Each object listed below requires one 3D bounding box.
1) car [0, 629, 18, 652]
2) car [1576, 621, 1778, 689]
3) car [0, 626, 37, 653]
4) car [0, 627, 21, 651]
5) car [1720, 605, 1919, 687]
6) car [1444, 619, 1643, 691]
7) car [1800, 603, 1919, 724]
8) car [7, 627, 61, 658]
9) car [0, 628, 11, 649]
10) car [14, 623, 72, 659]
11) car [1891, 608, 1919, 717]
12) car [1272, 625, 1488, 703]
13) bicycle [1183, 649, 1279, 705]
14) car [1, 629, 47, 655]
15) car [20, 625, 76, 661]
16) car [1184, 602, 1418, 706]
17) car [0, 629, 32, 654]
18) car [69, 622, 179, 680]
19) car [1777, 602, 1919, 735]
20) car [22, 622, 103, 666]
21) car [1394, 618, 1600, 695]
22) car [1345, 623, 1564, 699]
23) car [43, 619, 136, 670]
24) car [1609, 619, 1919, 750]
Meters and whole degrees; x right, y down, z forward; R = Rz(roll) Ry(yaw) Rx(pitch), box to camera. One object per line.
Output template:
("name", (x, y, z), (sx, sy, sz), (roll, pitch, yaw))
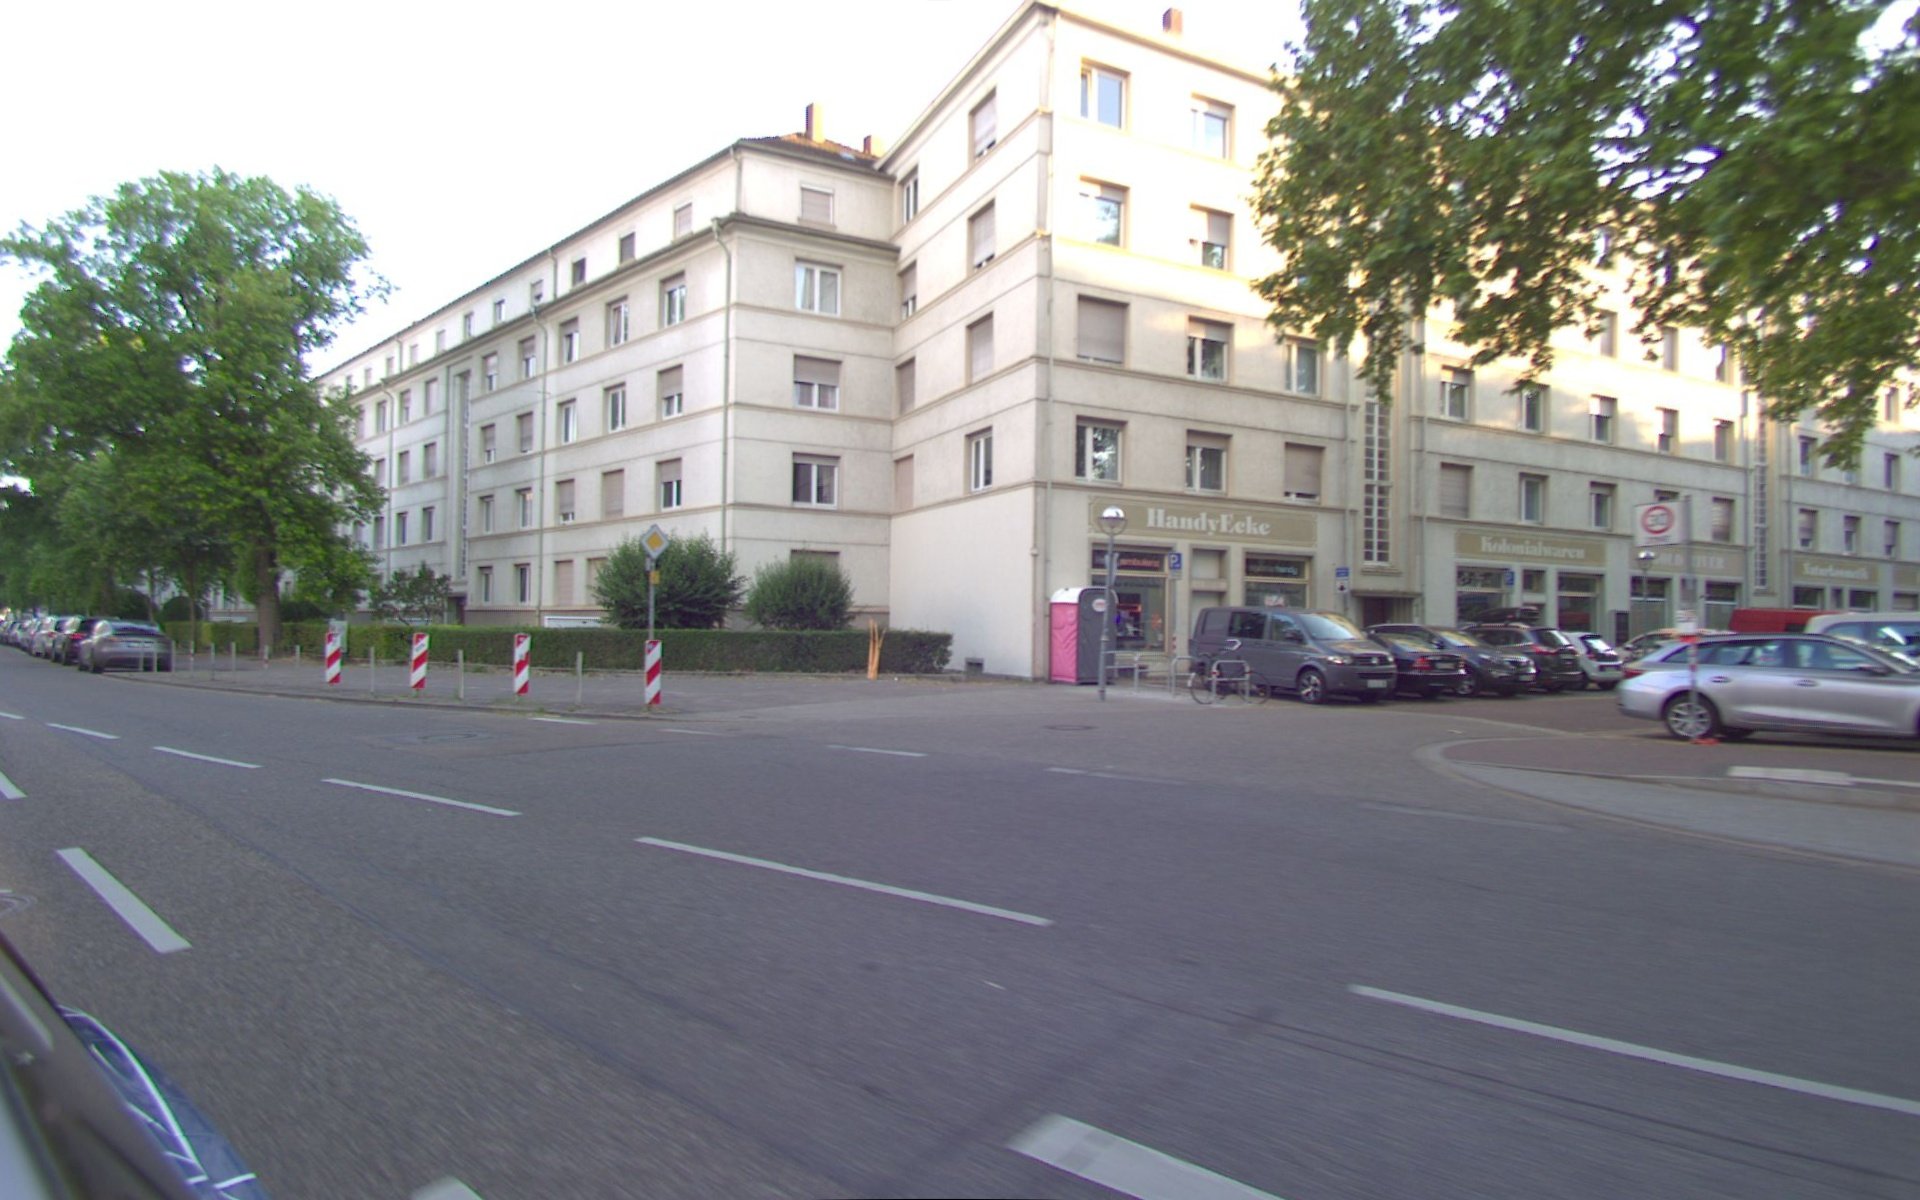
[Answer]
("car", (-66.923, 2.760, 70.465), (3.799, 1.516, 1.572), (-1, -5, 43))
("car", (20.416, 1.497, 29.026), (1.897, 1.763, 4.353), (1, -1, -28))
("car", (-57.367, 2.402, 61.489), (3.163, 1.541, 1.506), (-1, -5, 42))
("car", (-63.895, 2.589, 67.589), (1.572, 1.541, 2.923), (6, -6, -44))
("car", (29.101, 1.464, 34.049), (1.965, 2.522, 5.303), (1, -1, -27))
("car", (15.716, 1.409, 27.508), (1.897, 1.763, 4.353), (1, -1, -28))
("car", (16.064, 0.959, 15.338), (2.049, 1.855, 4.645), (1, -3, -28))
("car", (-50.402, 2.285, 55.060), (4.204, 1.550, 1.573), (-1, -5, 41))
("car", (-71.526, 2.803, 74.768), (4.483, 1.471, 1.673), (-1, -5, 43))
("car", (-44.219, 1.979, 48.775), (4.117, 1.613, 1.688), (-1, -5, 43))
("car", (18.224, 1.006, 16.036), (2.049, 1.855, 4.645), (1, -3, -28))
("car", (9.411, 1.362, 23.064), (1.897, 1.550, 4.353), (1, -1, -28))
("bicycle", (5.252, 1.480, 19.605), (1.793, 1.050, 0.481), (1, -2, -15))
("car", (-54.288, 2.435, 58.685), (4.181, 1.415, 1.572), (-1, -5, 44))
("car", (-40.674, 1.907, 45.156), (1.712, 1.508, 4.275), (4, -4, -42))
("car", (7.249, 1.084, 22.092), (1.965, 1.988, 4.862), (1, -1, -27))
("car", (-60.375, 2.597, 64.303), (4.101, 1.477, 1.573), (-1, -5, 42))
("car", (-25.499, 1.526, 30.821), (4.605, 1.629, 1.932), (-1, -4, 43))
("car", (14.247, 0.928, 13.647), (1.793, 1.814, 4.645), (1, -3, -28))
("car", (-36.730, 1.784, 41.375), (4.857, 1.704, 1.827), (-1, -4, 42))
("car", (13.629, 1.366, 25.953), (1.897, 1.763, 4.353), (1, -1, -28))
("car", (11.635, 1.367, 24.156), (2.014, 1.607, 4.353), (1, -1, -28))
("car", (-31.377, 1.589, 36.431), (4.771, 1.732, 1.932), (-1, -4, 43))
("car", (11.190, 1.015, 12.820), (1.794, 1.493, 4.643), (1, -3, -33))
